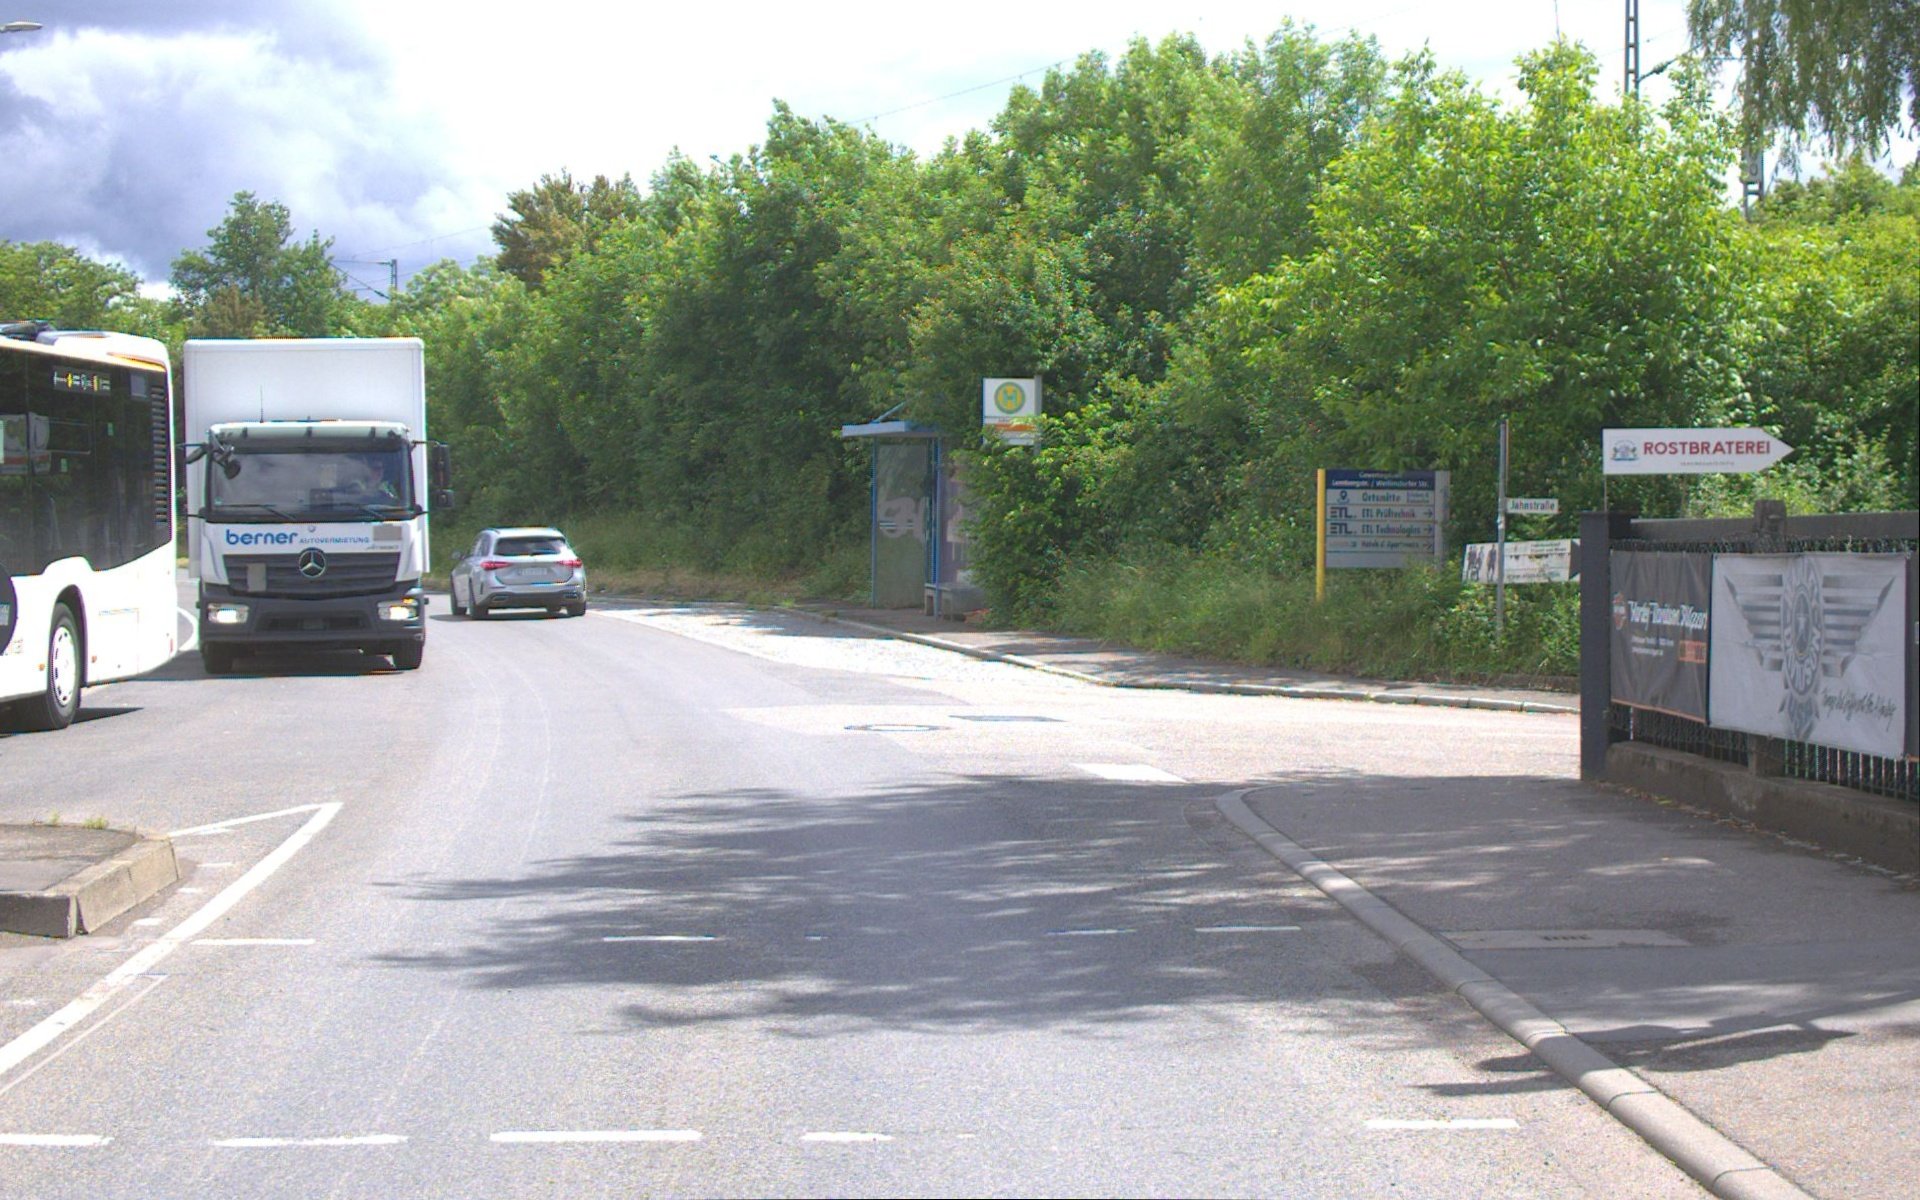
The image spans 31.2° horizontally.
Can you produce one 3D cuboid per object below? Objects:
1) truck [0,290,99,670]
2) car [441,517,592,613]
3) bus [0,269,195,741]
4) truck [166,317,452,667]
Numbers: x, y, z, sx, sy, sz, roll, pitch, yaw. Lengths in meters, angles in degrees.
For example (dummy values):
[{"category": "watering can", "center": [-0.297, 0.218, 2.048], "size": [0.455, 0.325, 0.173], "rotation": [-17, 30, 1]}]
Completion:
[{"category": "truck", "center": [-12.201, -1.410, 41.452], "size": [2.428, 4.117, 9.153], "rotation": [2, 1, -8]}, {"category": "car", "center": [-7.246, -0.595, 55.877], "size": [1.884, 1.503, 4.001], "rotation": [0, 1, -15]}, {"category": "bus", "center": [-8.026, -0.620, 22.857], "size": [2.777, 3.255, 12.123], "rotation": [-1, 1, 2]}, {"category": "truck", "center": [-7.444, -1.208, 39.746], "size": [2.839, 3.528, 9.727], "rotation": [0, 1, -10]}]
